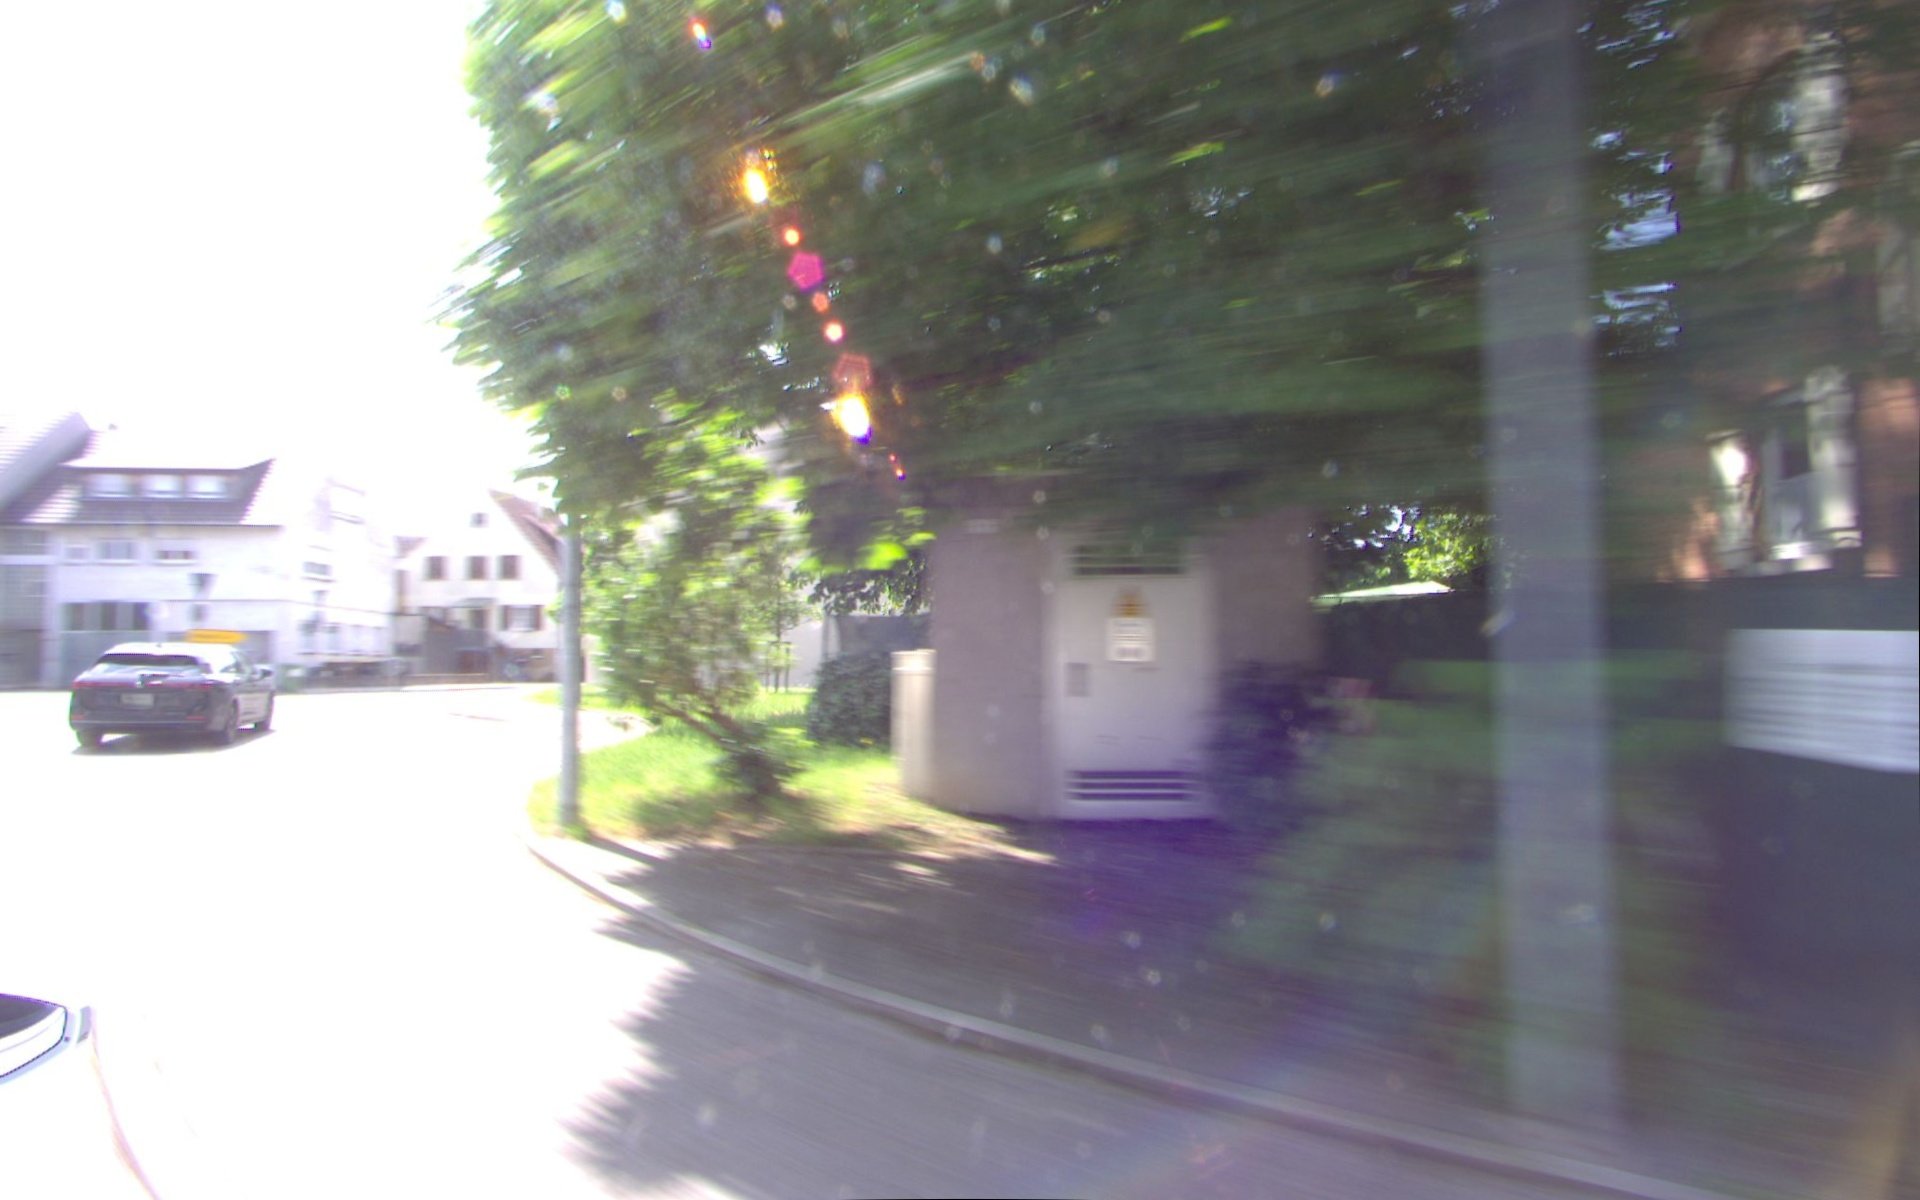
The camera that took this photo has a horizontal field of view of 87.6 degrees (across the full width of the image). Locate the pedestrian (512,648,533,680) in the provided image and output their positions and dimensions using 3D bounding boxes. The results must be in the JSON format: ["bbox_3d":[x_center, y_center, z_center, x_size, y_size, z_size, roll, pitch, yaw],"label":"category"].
[{"bbox_3d":[-22.302,3.264,51.066,0.764,1.593,0.628,0,-2,11],"label":"pedestrian"}]

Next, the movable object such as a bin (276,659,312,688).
[{"bbox_3d":[-24.415,2.688,36.708,0.799,1.058,0.823,-1,-3,30],"label":"movable object such as a bin"}]

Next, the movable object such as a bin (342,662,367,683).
[{"bbox_3d":[-26.444,3.156,43.714,0.672,0.907,0.698,1,-3,-7],"label":"movable object such as a bin"}]

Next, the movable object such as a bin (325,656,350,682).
[{"bbox_3d":[-26.291,2.919,42.305,0.672,1.099,0.645,1,-2,-7],"label":"movable object such as a bin"}]

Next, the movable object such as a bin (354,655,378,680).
[{"bbox_3d":[-26.457,3.012,44.592,0.672,1.095,0.626,1,-2,-7],"label":"movable object such as a bin"}]

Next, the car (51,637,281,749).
[{"bbox_3d":[-11.949,1.331,15.435,1.820,1.437,4.665,2,-3,-27],"label":"car"}]

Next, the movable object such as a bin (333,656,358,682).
[{"bbox_3d":[-26.370,2.954,42.991,0.672,1.099,0.698,1,-2,-7],"label":"movable object such as a bin"}]
